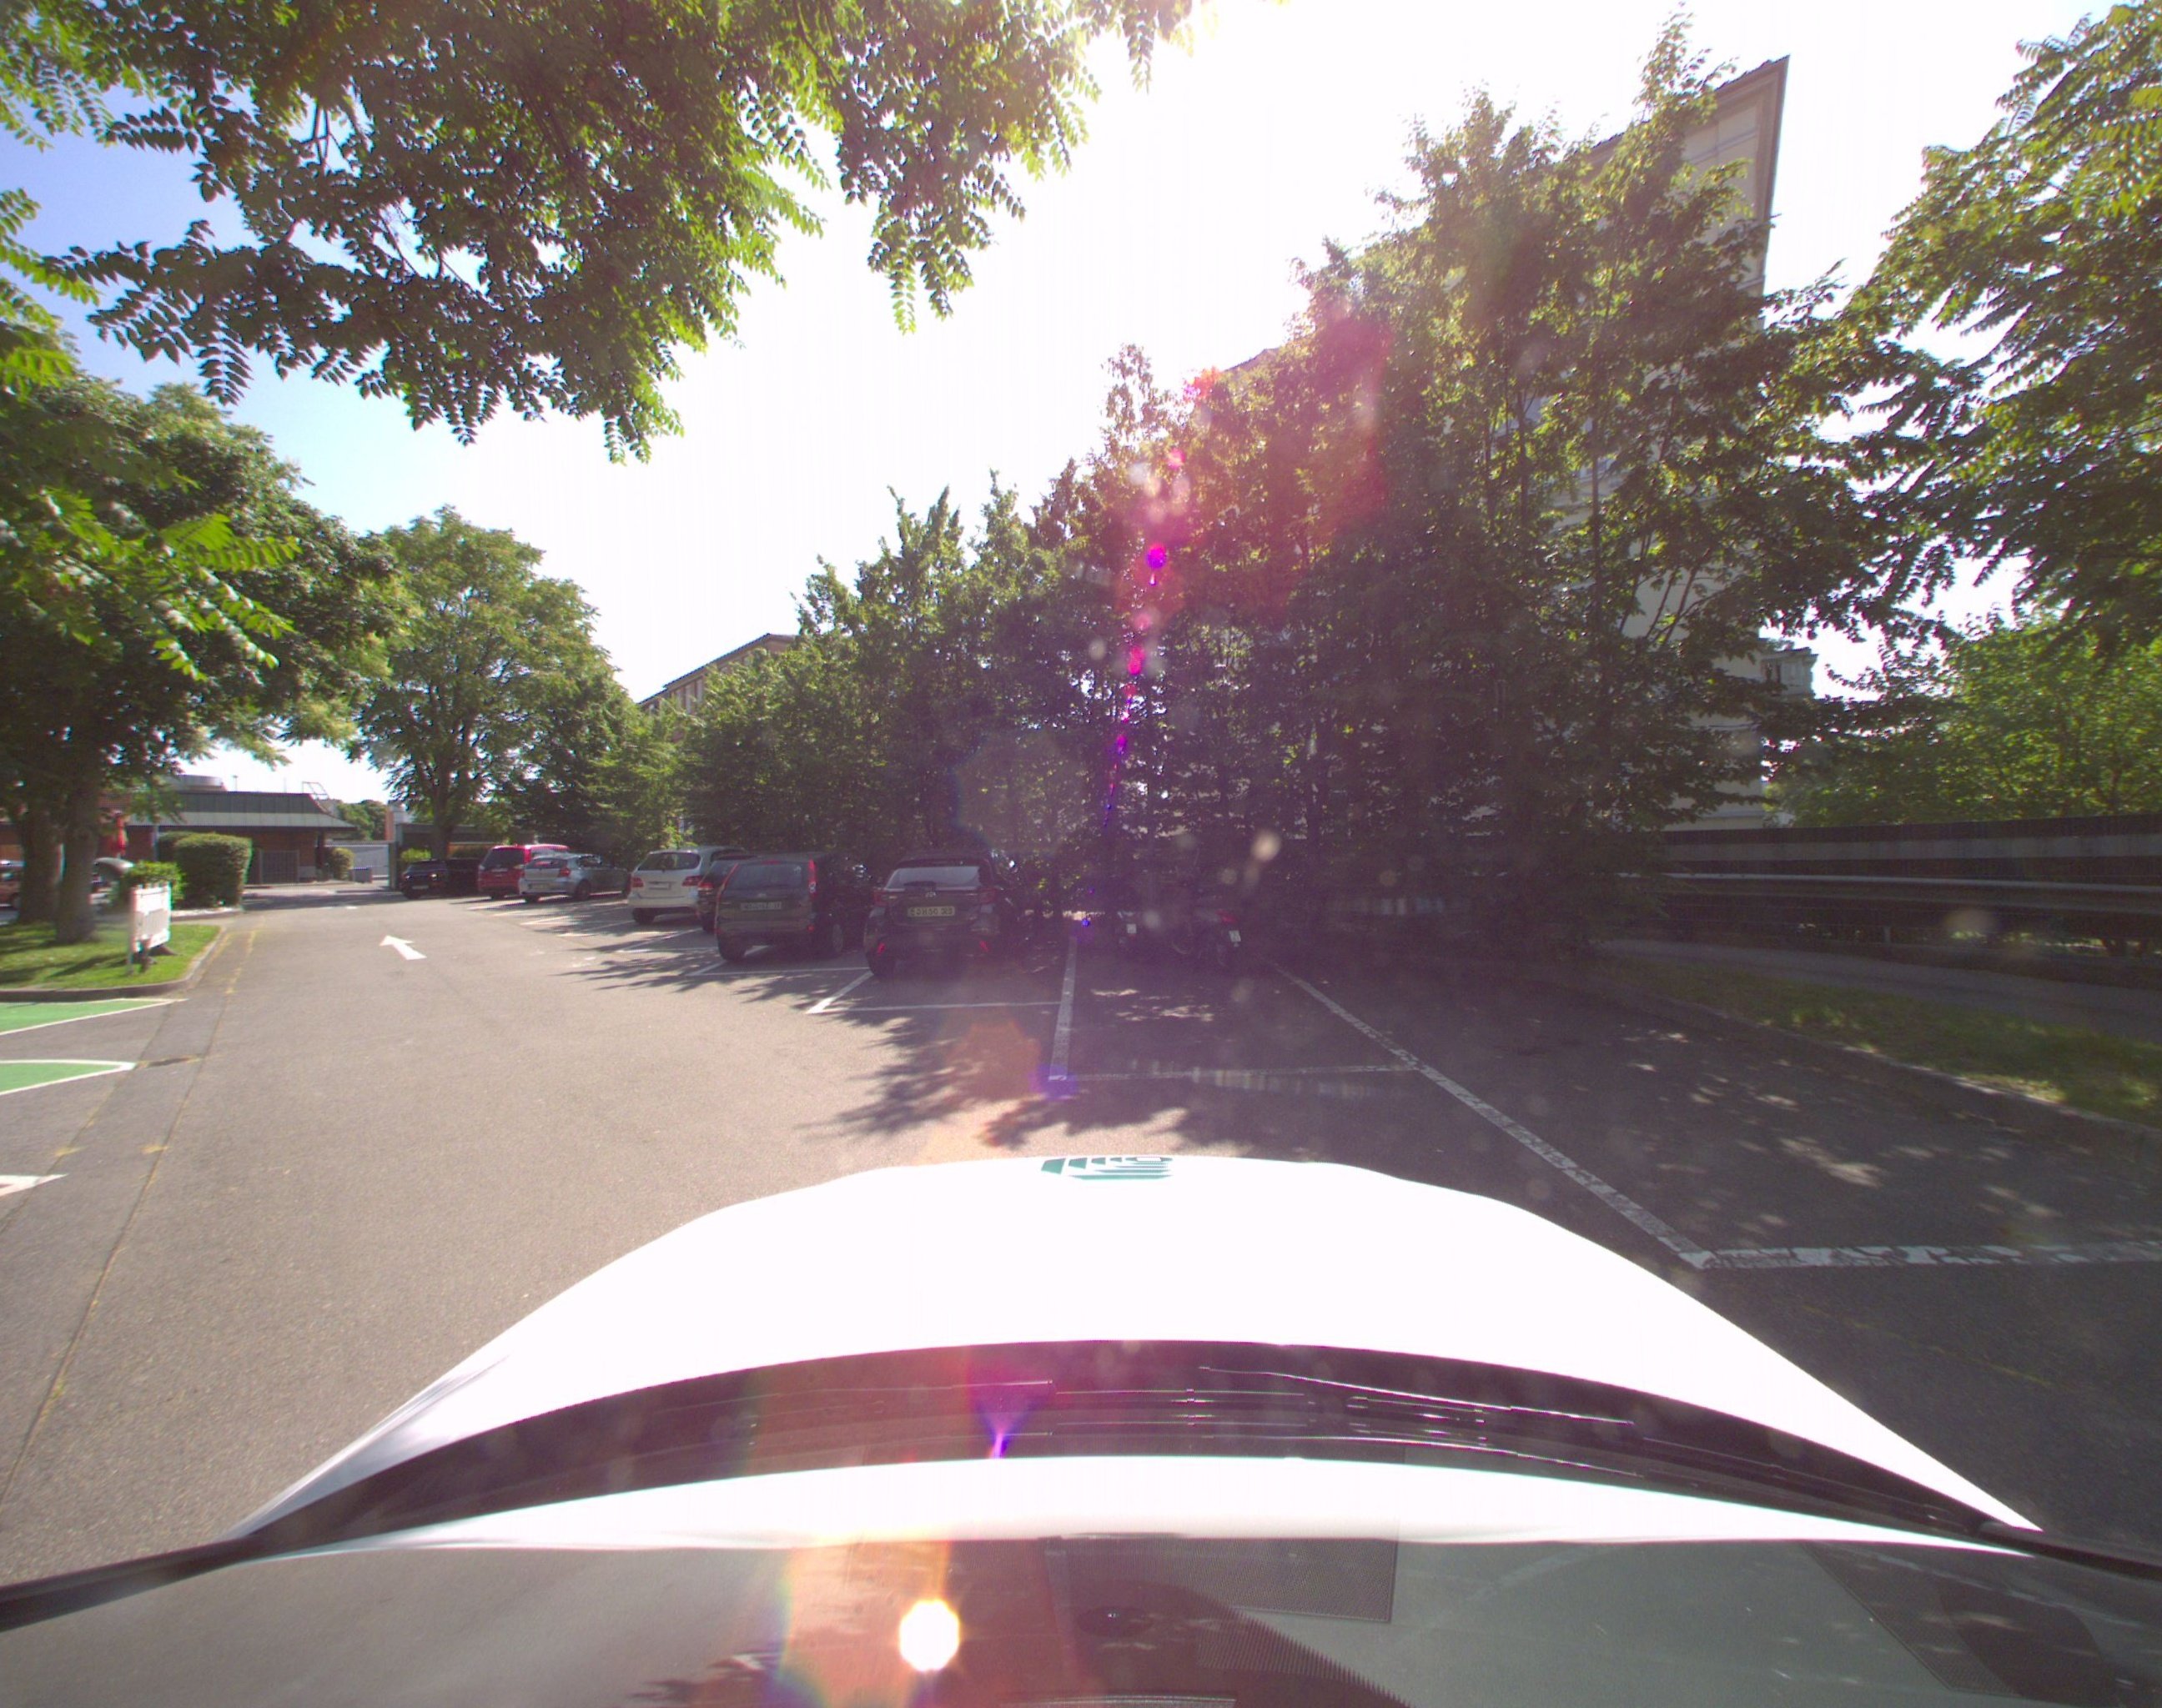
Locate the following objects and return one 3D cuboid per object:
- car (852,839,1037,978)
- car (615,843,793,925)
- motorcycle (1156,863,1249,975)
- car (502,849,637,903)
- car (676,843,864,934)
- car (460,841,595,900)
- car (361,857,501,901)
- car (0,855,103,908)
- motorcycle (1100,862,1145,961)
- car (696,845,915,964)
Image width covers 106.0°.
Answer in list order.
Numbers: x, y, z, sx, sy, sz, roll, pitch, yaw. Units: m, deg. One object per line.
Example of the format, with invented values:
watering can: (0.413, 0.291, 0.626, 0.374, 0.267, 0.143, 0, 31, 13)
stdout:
car: (-1.643, 0.582, 11.151, 1.649, 1.469, 3.908, -2, 2, 3)
car: (-8.270, 0.573, 18.321, 1.759, 1.572, 4.007, -1, 1, 6)
motorcycle: (1.383, 0.706, 9.575, 0.568, 1.169, 1.600, -2, 0, -10)
car: (-15.961, 0.628, 25.670, 1.764, 1.475, 3.998, -2, 1, -2)
car: (-6.030, 0.592, 16.350, 1.759, 1.469, 4.009, -2, 2, 7)
car: (-18.734, 0.495, 27.797, 1.763, 1.734, 3.999, -3, 1, 0)
car: (-23.157, 0.842, 29.226, 1.763, 1.389, 4.000, -2, 0, 0)
car: (-36.967, 0.930, 28.027, 4.336, 1.685, 1.864, -1, 2, 2)
motorcycle: (0.524, 0.708, 10.700, 0.472, 1.141, 1.605, -1, 1, 0)
car: (-4.052, 0.654, 12.745, 1.690, 1.453, 4.007, -2, 1, 5)
